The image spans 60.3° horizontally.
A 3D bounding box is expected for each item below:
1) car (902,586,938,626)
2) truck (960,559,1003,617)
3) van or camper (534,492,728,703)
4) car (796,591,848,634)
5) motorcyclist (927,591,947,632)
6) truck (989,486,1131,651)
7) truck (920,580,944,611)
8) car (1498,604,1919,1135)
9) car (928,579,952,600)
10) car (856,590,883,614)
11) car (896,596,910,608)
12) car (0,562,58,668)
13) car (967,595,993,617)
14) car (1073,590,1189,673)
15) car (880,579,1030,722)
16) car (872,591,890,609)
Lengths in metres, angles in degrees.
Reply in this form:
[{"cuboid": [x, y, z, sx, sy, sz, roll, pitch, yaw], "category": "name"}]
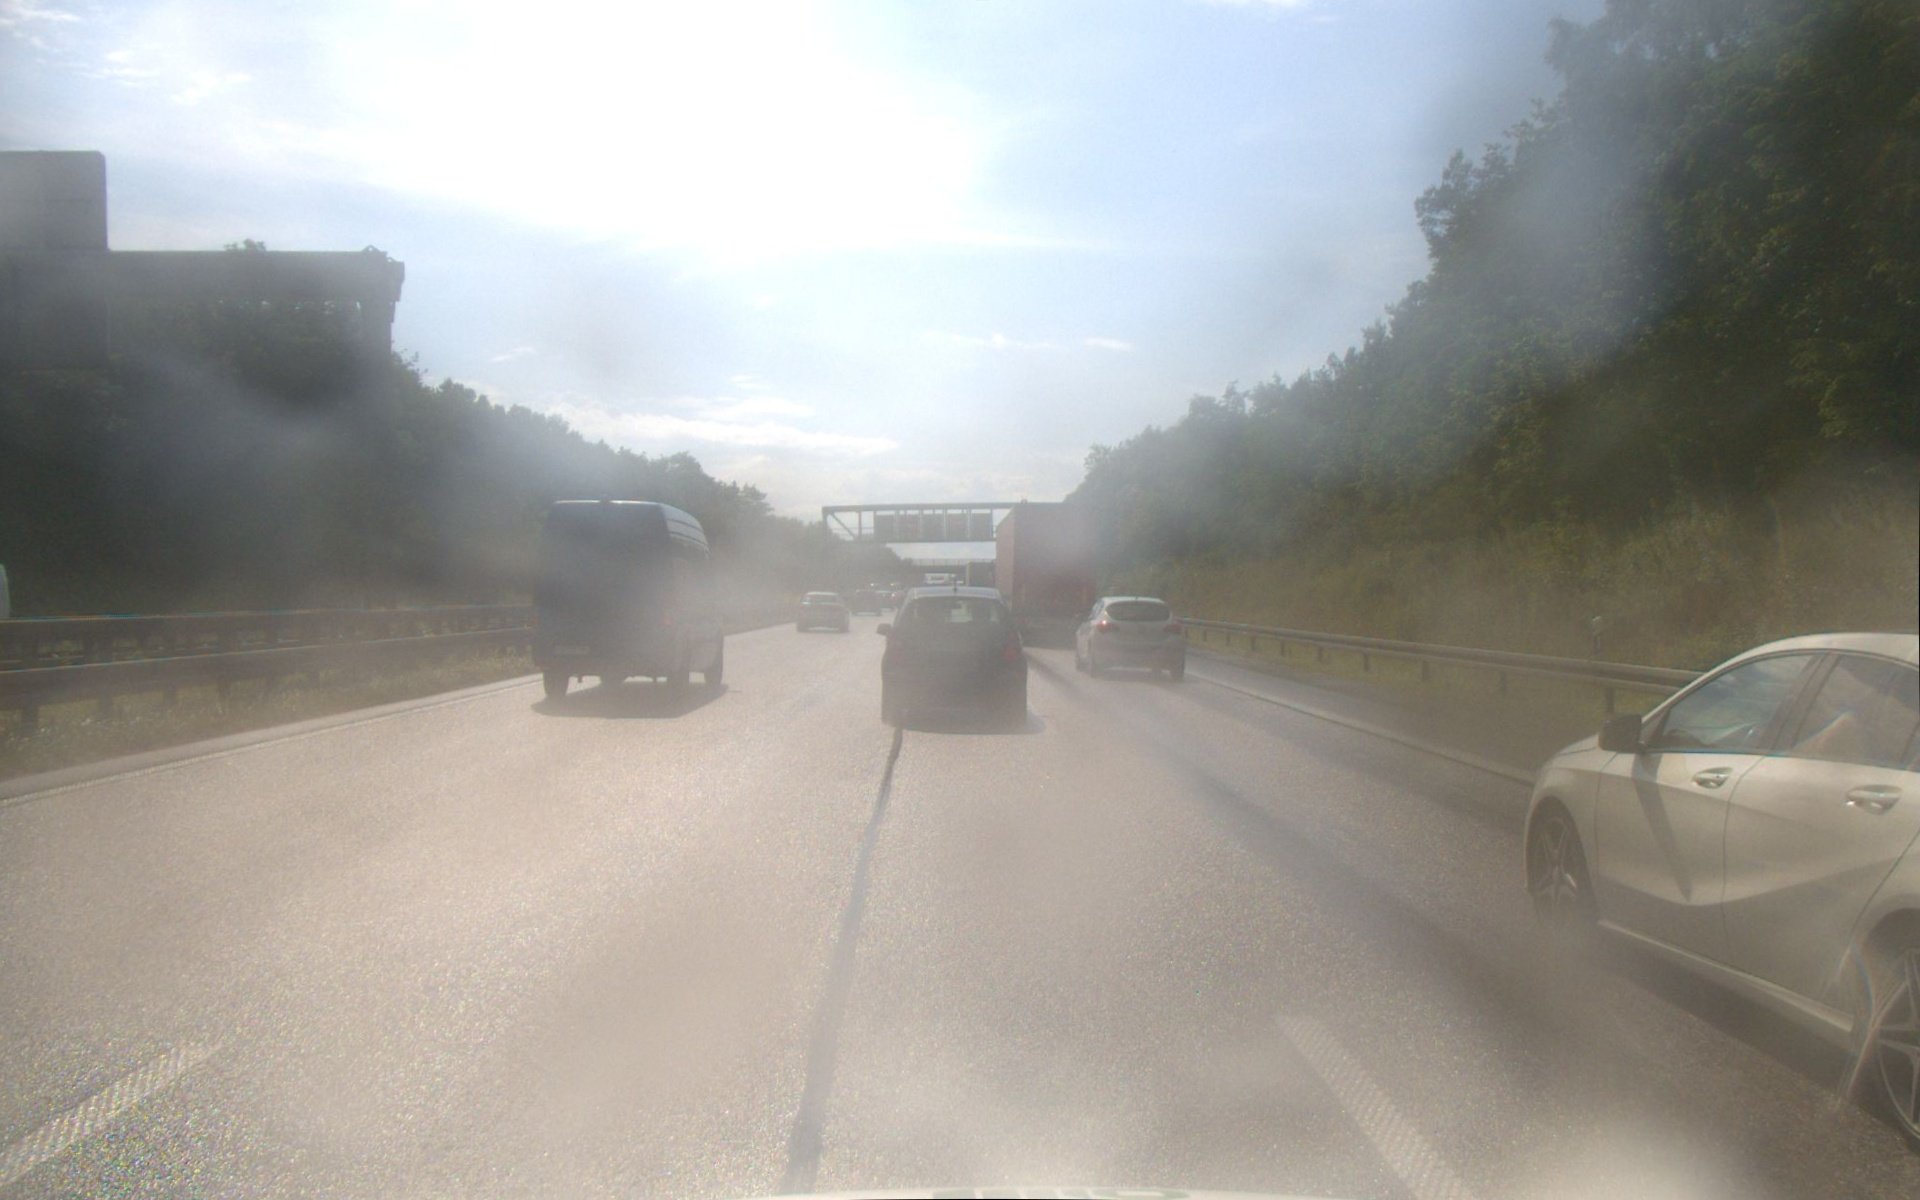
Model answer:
[{"cuboid": [-1.841, 0.269, 75.328, 1.501, 1.777, 3.483, 1, 0, -3], "category": "car"}, {"cuboid": [1.731, -0.980, 139.164, 3.190, 4.558, 12.418, 1, 0, -1], "category": "truck"}, {"cuboid": [-4.673, -0.033, 24.320, 1.954, 2.715, 5.382, 1, 0, -3], "category": "van or camper"}, {"cuboid": [-5.210, 0.463, 62.931, 1.817, 1.578, 3.483, 1, 0, -3], "category": "car"}, {"cuboid": [-0.948, 0.485, 67.921, 0.785, 1.662, 1.013, 1, 0, -3], "category": "motorcyclist"}, {"cuboid": [3.112, -0.942, 57.303, 3.575, 4.803, 16.775, 1, 0, -1], "category": "truck"}, {"cuboid": [-2.725, -0.422, 158.505, 2.148, 2.925, 4.847, 1, 0, -3], "category": "truck"}, {"cuboid": [3.466, 0.763, 5.895, 1.658, 1.450, 4.219, 1, 0, -1], "category": "car"}, {"cuboid": [-1.394, -0.699, 113.333, 1.521, 1.407, 3.208, 1, 0, -3], "category": "car"}, {"cuboid": [-5.863, 0.124, 107.647, 1.716, 1.482, 3.388, 1, 0, -3], "category": "car"}, {"cuboid": [-6.287, 0.185, 182.577, 1.518, 1.289, 3.482, 1, 0, -3], "category": "car"}, {"cuboid": [-21.787, 0.312, 35.066, 2.101, 2.288, 5.978, 1, 0, -1], "category": "car"}, {"cuboid": [1.322, 0.379, 110.741, 1.521, 1.407, 3.208, 1, 0, -3], "category": "car"}, {"cuboid": [3.218, 0.568, 31.742, 1.647, 1.467, 3.903, 1, 0, -3], "category": "car"}, {"cuboid": [-0.127, 0.577, 20.520, 1.683, 1.595, 3.483, 1, 0, -3], "category": "car"}, {"cuboid": [-6.368, 0.020, 133.869, 1.431, 1.418, 3.310, 1, 0, -3], "category": "car"}]
